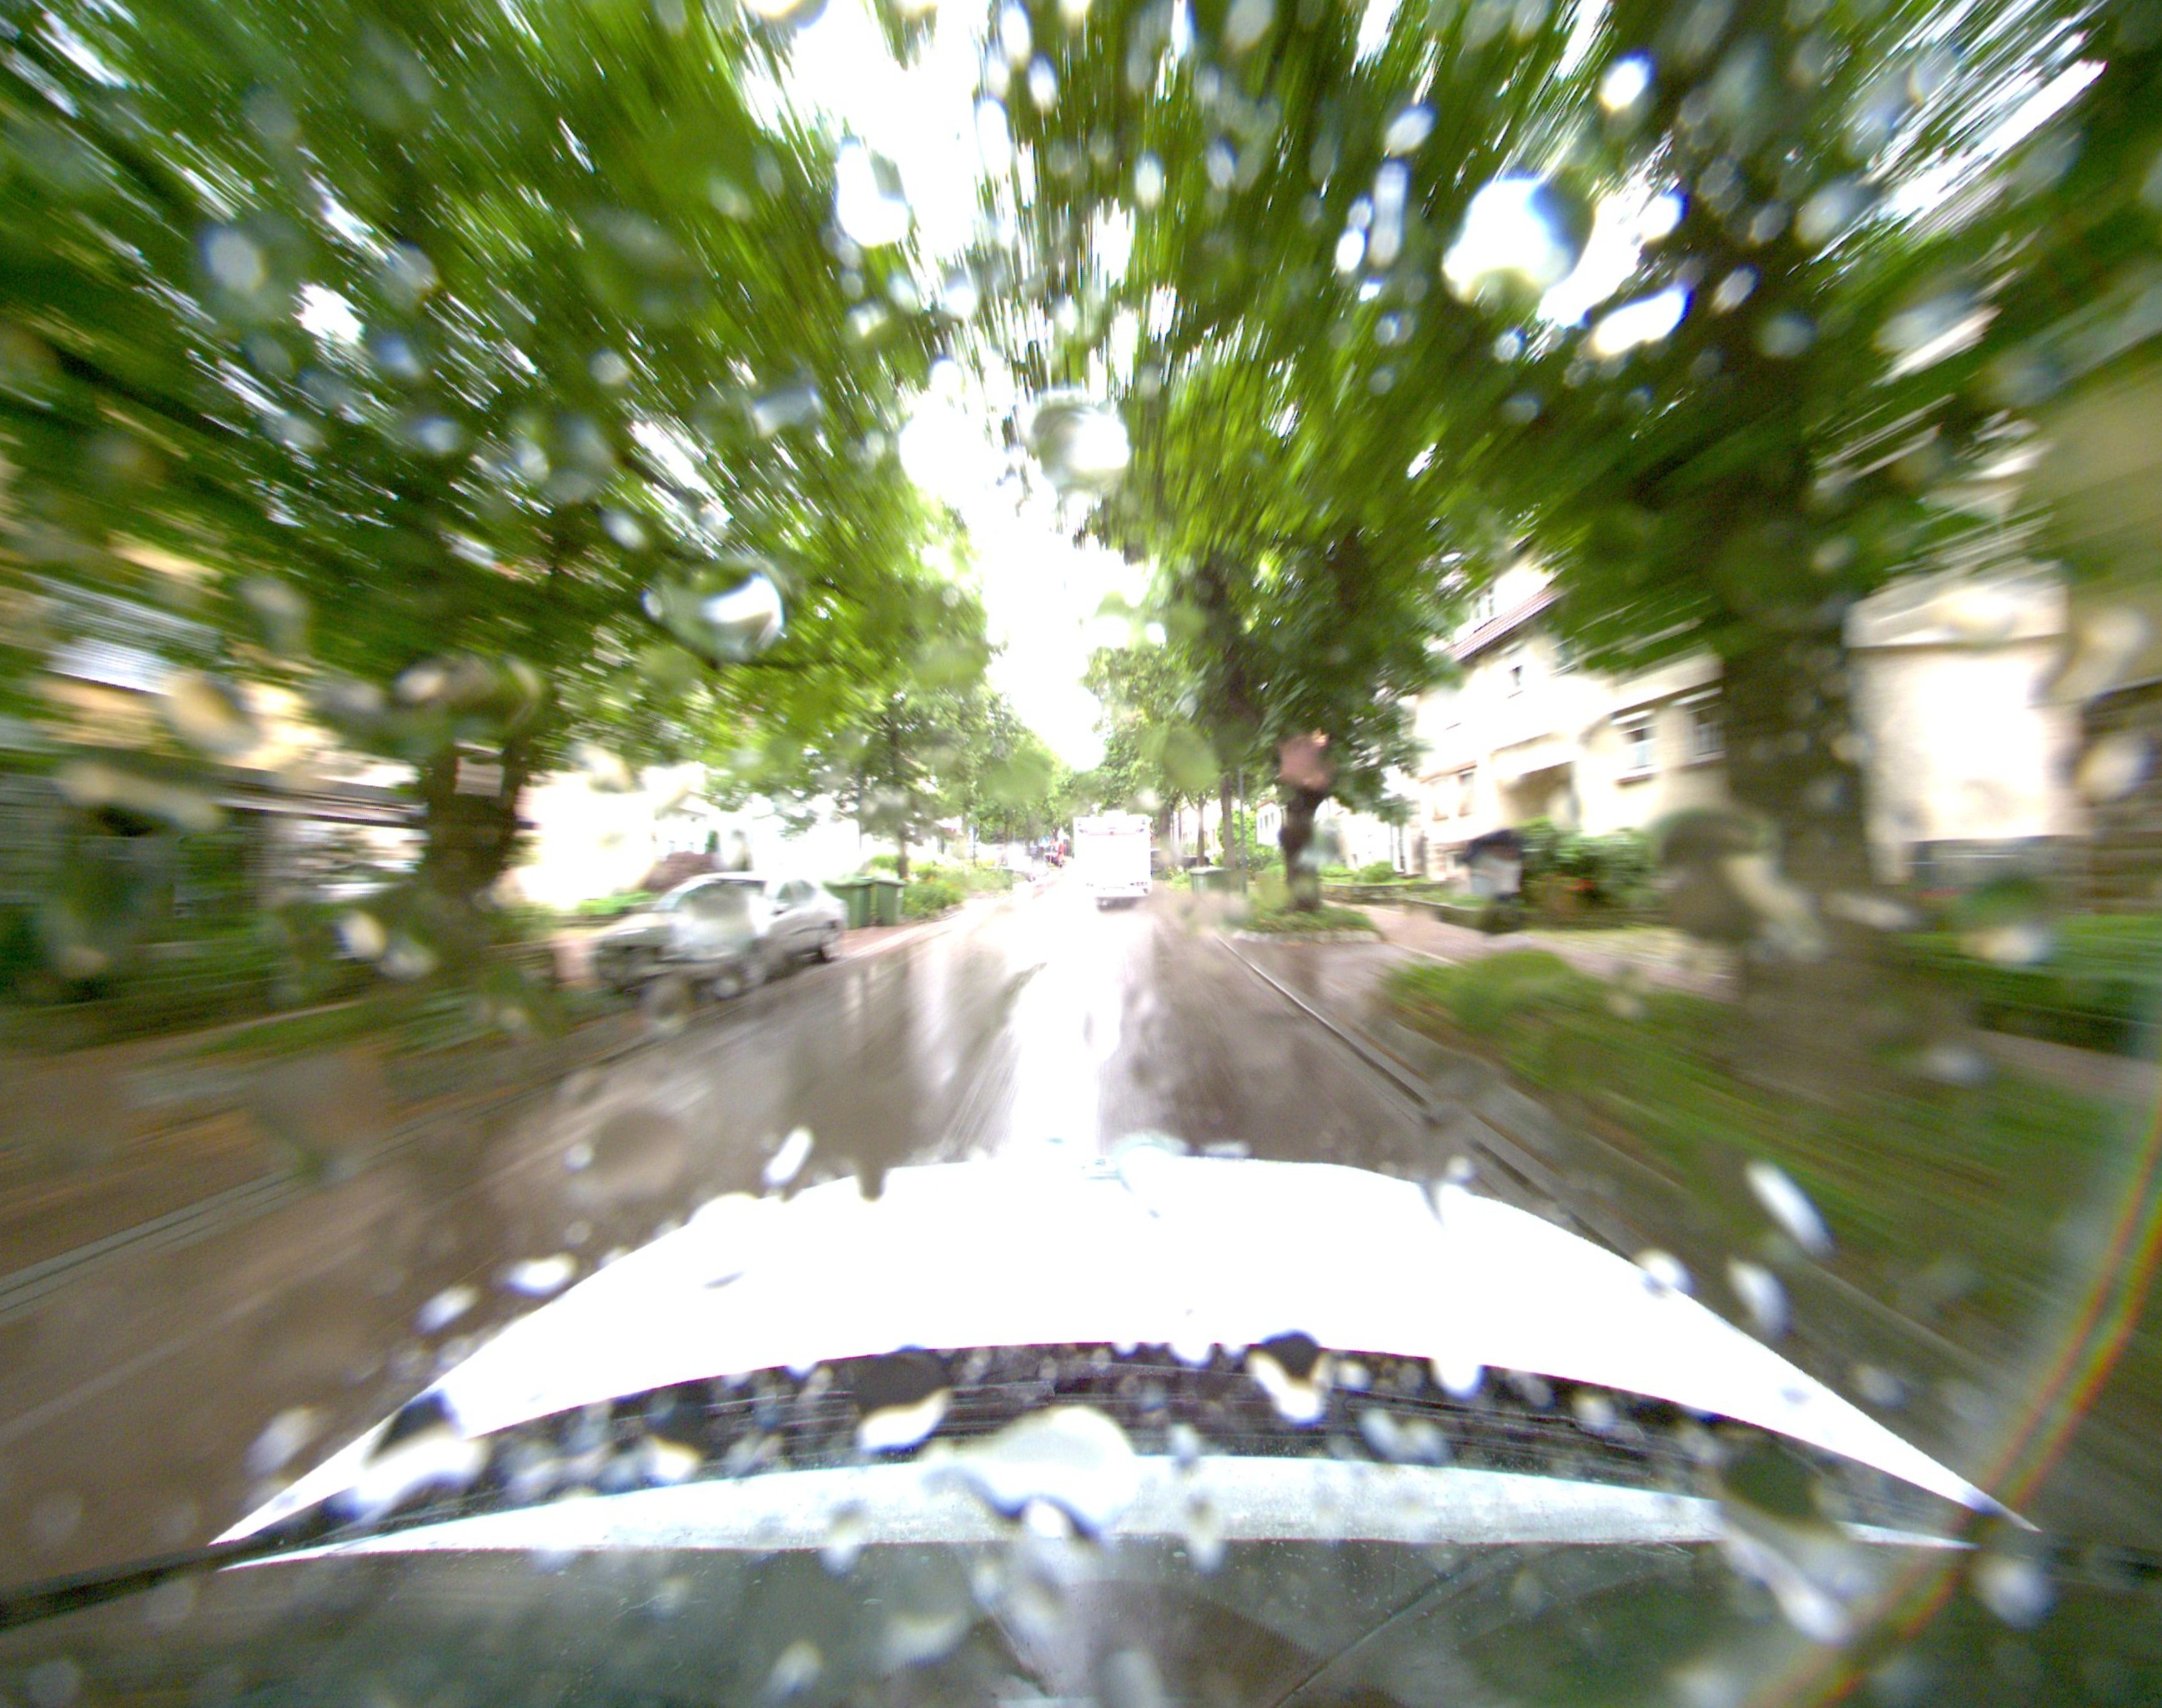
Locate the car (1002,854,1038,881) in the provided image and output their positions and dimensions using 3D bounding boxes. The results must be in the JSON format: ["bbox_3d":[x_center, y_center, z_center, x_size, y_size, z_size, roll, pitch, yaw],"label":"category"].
[{"bbox_3d":[-3.604,0.785,48.915,1.640,1.533,3.869,0,0,4],"label":"car"}]

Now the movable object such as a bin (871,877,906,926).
[{"bbox_3d":[-4.393,1.084,18.597,0.592,1.062,0.546,1,0,5],"label":"movable object such as a bin"}]

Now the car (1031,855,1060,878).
[{"bbox_3d":[-2.502,0.877,58.161,1.765,1.553,4.002,1,0,2],"label":"car"}]

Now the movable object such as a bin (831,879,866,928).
[{"bbox_3d":[-5.179,1.093,18.163,0.592,1.063,0.546,0,0,5],"label":"movable object such as a bin"}]

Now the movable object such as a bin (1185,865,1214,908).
[{"bbox_3d":[3.073,0.835,21.104,0.642,1.082,0.540,-1,-1,-2],"label":"movable object such as a bin"}]

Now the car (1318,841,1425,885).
[{"bbox_3d":[13.975,0.444,39.332,4.446,1.900,2.000,2,-1,0],"label":"car"}]

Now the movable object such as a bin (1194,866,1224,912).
[{"bbox_3d":[3.109,0.853,19.828,0.608,1.082,0.512,-1,-1,-2],"label":"movable object such as a bin"}]

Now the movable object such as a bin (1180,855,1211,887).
[{"bbox_3d":[4.916,0.736,35.068,1.219,1.315,1.135,-2,-1,4],"label":"movable object such as a bin"}]

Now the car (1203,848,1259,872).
[{"bbox_3d":[9.920,0.377,54.158,3.356,1.430,1.629,-3,0,-2],"label":"car"}]

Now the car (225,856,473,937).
[{"bbox_3d":[-14.971,0.842,16.790,3.558,1.477,1.637,2,0,0],"label":"car"}]

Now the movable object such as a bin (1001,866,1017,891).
[{"bbox_3d":[-3.303,1.104,37.308,0.640,1.111,0.536,-2,0,3],"label":"movable object such as a bin"}]

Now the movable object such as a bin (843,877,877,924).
[{"bbox_3d":[-5.094,1.067,18.773,0.592,1.063,0.546,0,0,5],"label":"movable object such as a bin"}]

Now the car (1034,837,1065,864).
[{"bbox_3d":[-3.006,-0.398,78.392,2.293,2.483,5.792,-1,1,4],"label":"car"}]

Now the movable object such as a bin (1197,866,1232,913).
[{"bbox_3d":[3.146,0.829,19.223,0.686,1.082,0.540,-1,-1,-3],"label":"movable object such as a bin"}]

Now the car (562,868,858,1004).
[{"bbox_3d":[-4.681,0.930,11.170,1.765,1.389,4.549,0,0,3],"label":"car"}]

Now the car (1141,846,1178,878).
[{"bbox_3d":[4.671,0.464,48.802,1.907,1.792,4.490,-1,0,2],"label":"car"}]

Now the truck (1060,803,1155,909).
[{"bbox_3d":[0.859,0.074,26.416,2.684,2.986,6.239,-1,0,2],"label":"truck"}]

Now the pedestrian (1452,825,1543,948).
[{"bbox_3d":[5.860,0.450,11.522,0.947,1.652,0.797,-2,-1,15],"label":"pedestrian"}]

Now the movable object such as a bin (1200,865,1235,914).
[{"bbox_3d":[3.117,0.800,18.646,0.686,1.082,0.540,-1,-1,-3],"label":"movable object such as a bin"}]

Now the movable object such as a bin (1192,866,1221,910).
[{"bbox_3d":[3.160,0.854,20.553,0.629,1.082,0.471,-1,-1,-3],"label":"movable object such as a bin"}]
